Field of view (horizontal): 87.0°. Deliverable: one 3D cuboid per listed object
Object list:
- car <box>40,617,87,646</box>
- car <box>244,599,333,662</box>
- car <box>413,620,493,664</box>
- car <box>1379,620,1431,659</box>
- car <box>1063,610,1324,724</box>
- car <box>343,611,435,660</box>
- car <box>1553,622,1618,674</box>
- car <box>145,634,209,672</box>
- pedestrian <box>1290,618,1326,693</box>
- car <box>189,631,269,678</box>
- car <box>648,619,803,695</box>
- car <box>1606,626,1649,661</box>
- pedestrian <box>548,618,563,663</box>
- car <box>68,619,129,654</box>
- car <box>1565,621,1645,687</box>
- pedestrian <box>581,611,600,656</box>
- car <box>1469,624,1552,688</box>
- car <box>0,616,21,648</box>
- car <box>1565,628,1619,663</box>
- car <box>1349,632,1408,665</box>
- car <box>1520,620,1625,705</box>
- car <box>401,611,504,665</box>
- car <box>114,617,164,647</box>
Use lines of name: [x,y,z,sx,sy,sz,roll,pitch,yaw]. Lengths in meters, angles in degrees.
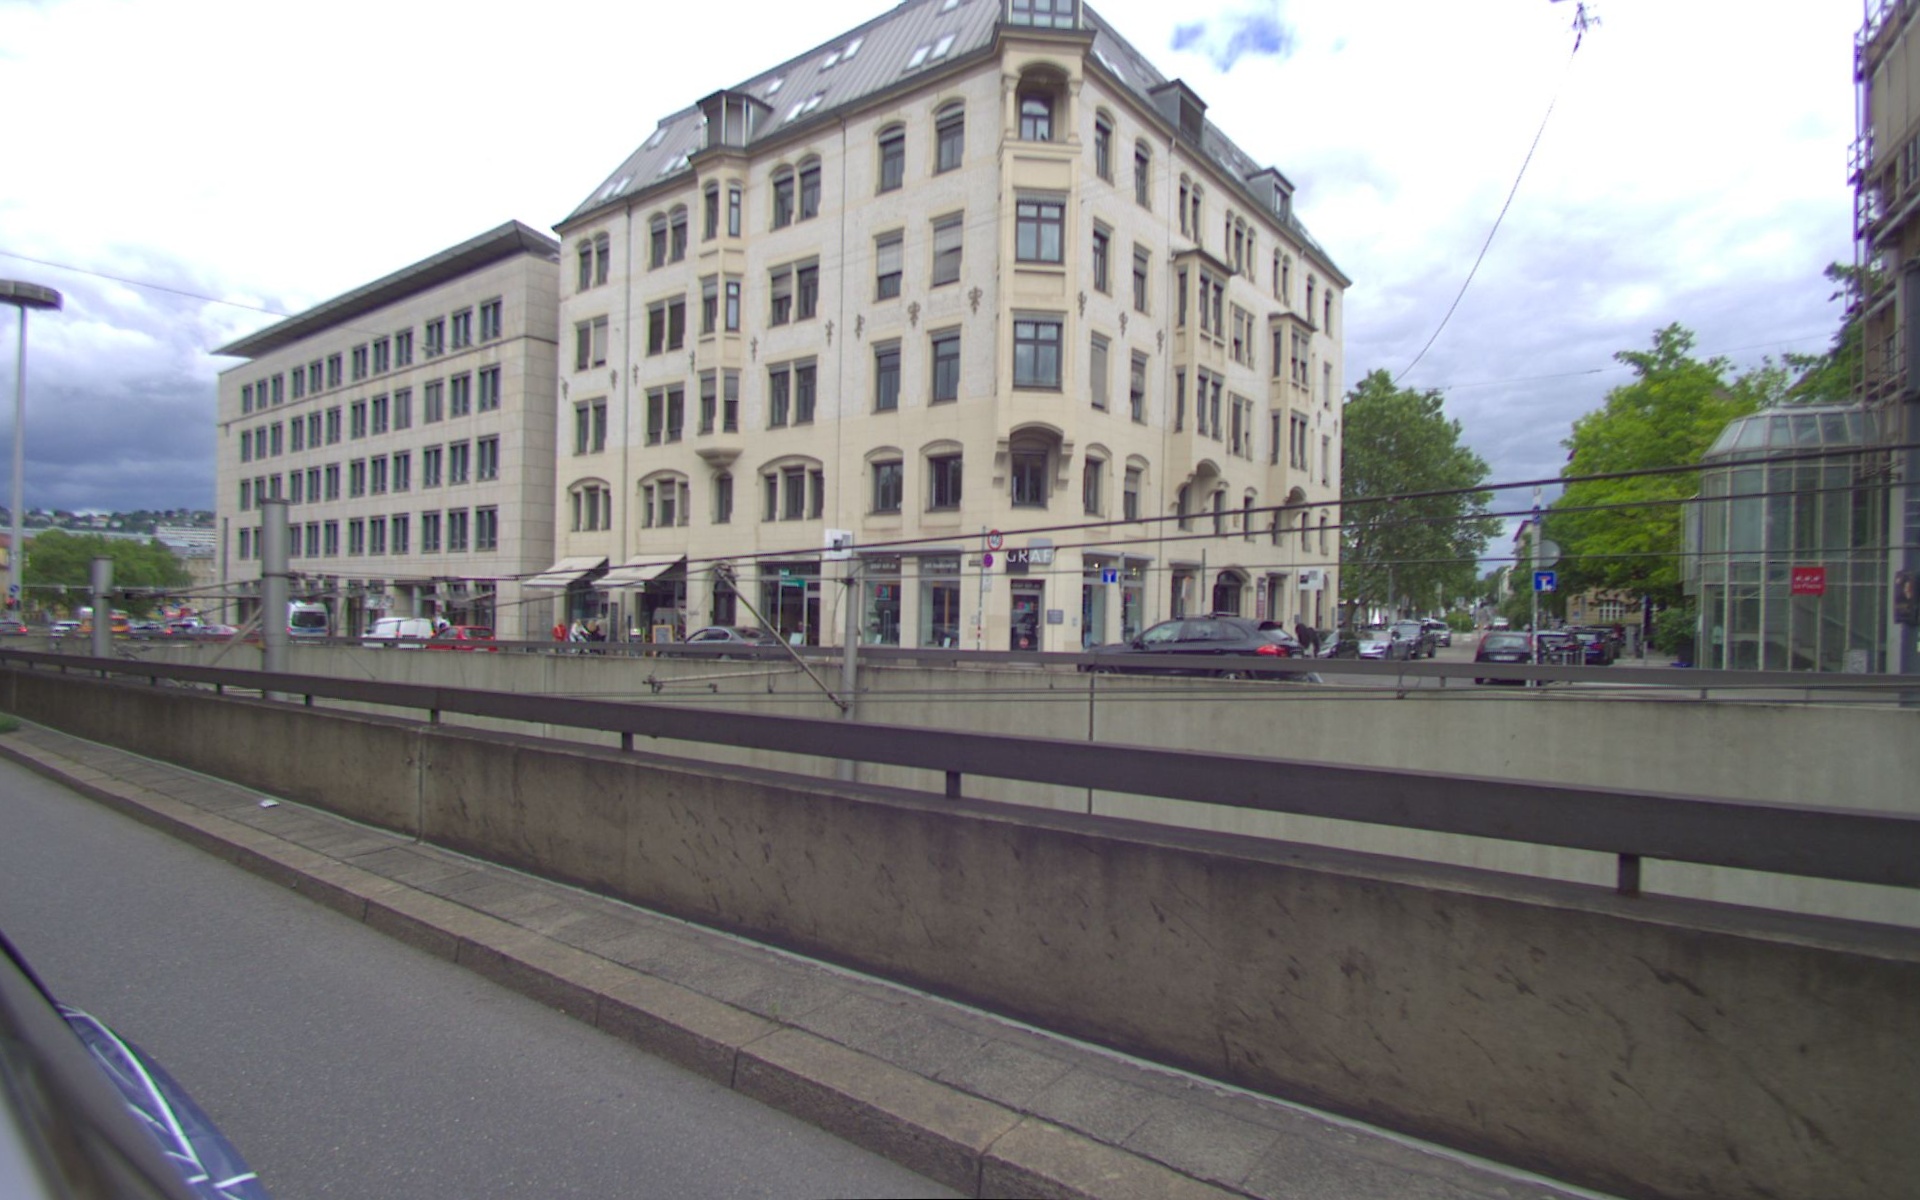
car: [-64.045,2.233,72.282,3.997,2.029,1.973,-1,-2,40]
car: [-35.003,1.524,52.673,5.464,3.083,2.341,-1,0,39]
car: [-24.480,1.981,48.824,3.996,2.029,1.974,-1,-2,39]
car: [20.426,1.777,46.392,1.645,1.674,3.559,-1,-2,33]
car: [4.639,1.234,20.541,4.785,2.029,1.974,-1,0,39]
car: [-25.386,1.533,44.941,4.785,2.029,1.974,-1,0,39]
car: [21.342,1.601,34.471,1.646,1.674,3.557,-1,-2,35]
car: [-46.894,3.143,60.562,4.785,2.029,1.974,-1,0,39]
pedestrian: [8.166,1.285,23.742,0.684,1.724,0.705,-2,-2,28]
car: [-35.599,2.607,49.258,4.785,2.029,1.974,-1,0,39]
car: [-7.031,1.605,30.068,4.785,2.029,1.974,-1,0,39]
car: [33.002,2.108,49.991,1.646,1.674,3.557,-1,-2,35]
pedestrian: [-16.101,1.597,40.268,0.502,1.793,0.579,0,-1,-27]
car: [-53.739,2.231,63.110,4.785,2.029,2.089,-1,0,39]
car: [17.488,1.404,27.389,1.646,1.674,3.557,-1,-2,35]
pedestrian: [-15.004,1.357,41.114,0.568,1.793,0.512,1,-1,-44]
car: [15.565,1.519,28.527,1.646,1.674,3.557,-1,-2,35]
car: [-63.258,2.096,66.384,3.997,2.029,1.973,-1,-2,40]
car: [23.999,1.696,38.399,1.536,1.140,3.557,-1,0,35]
car: [16.984,1.942,40.968,1.431,1.204,3.557,1,0,35]
car: [13.344,1.289,21.971,1.647,1.674,3.605,-1,-2,36]
car: [-20.618,1.485,41.045,4.785,2.029,1.974,-1,0,39]
car: [-56.283,2.190,69.379,3.997,2.029,1.973,-1,-2,40]
